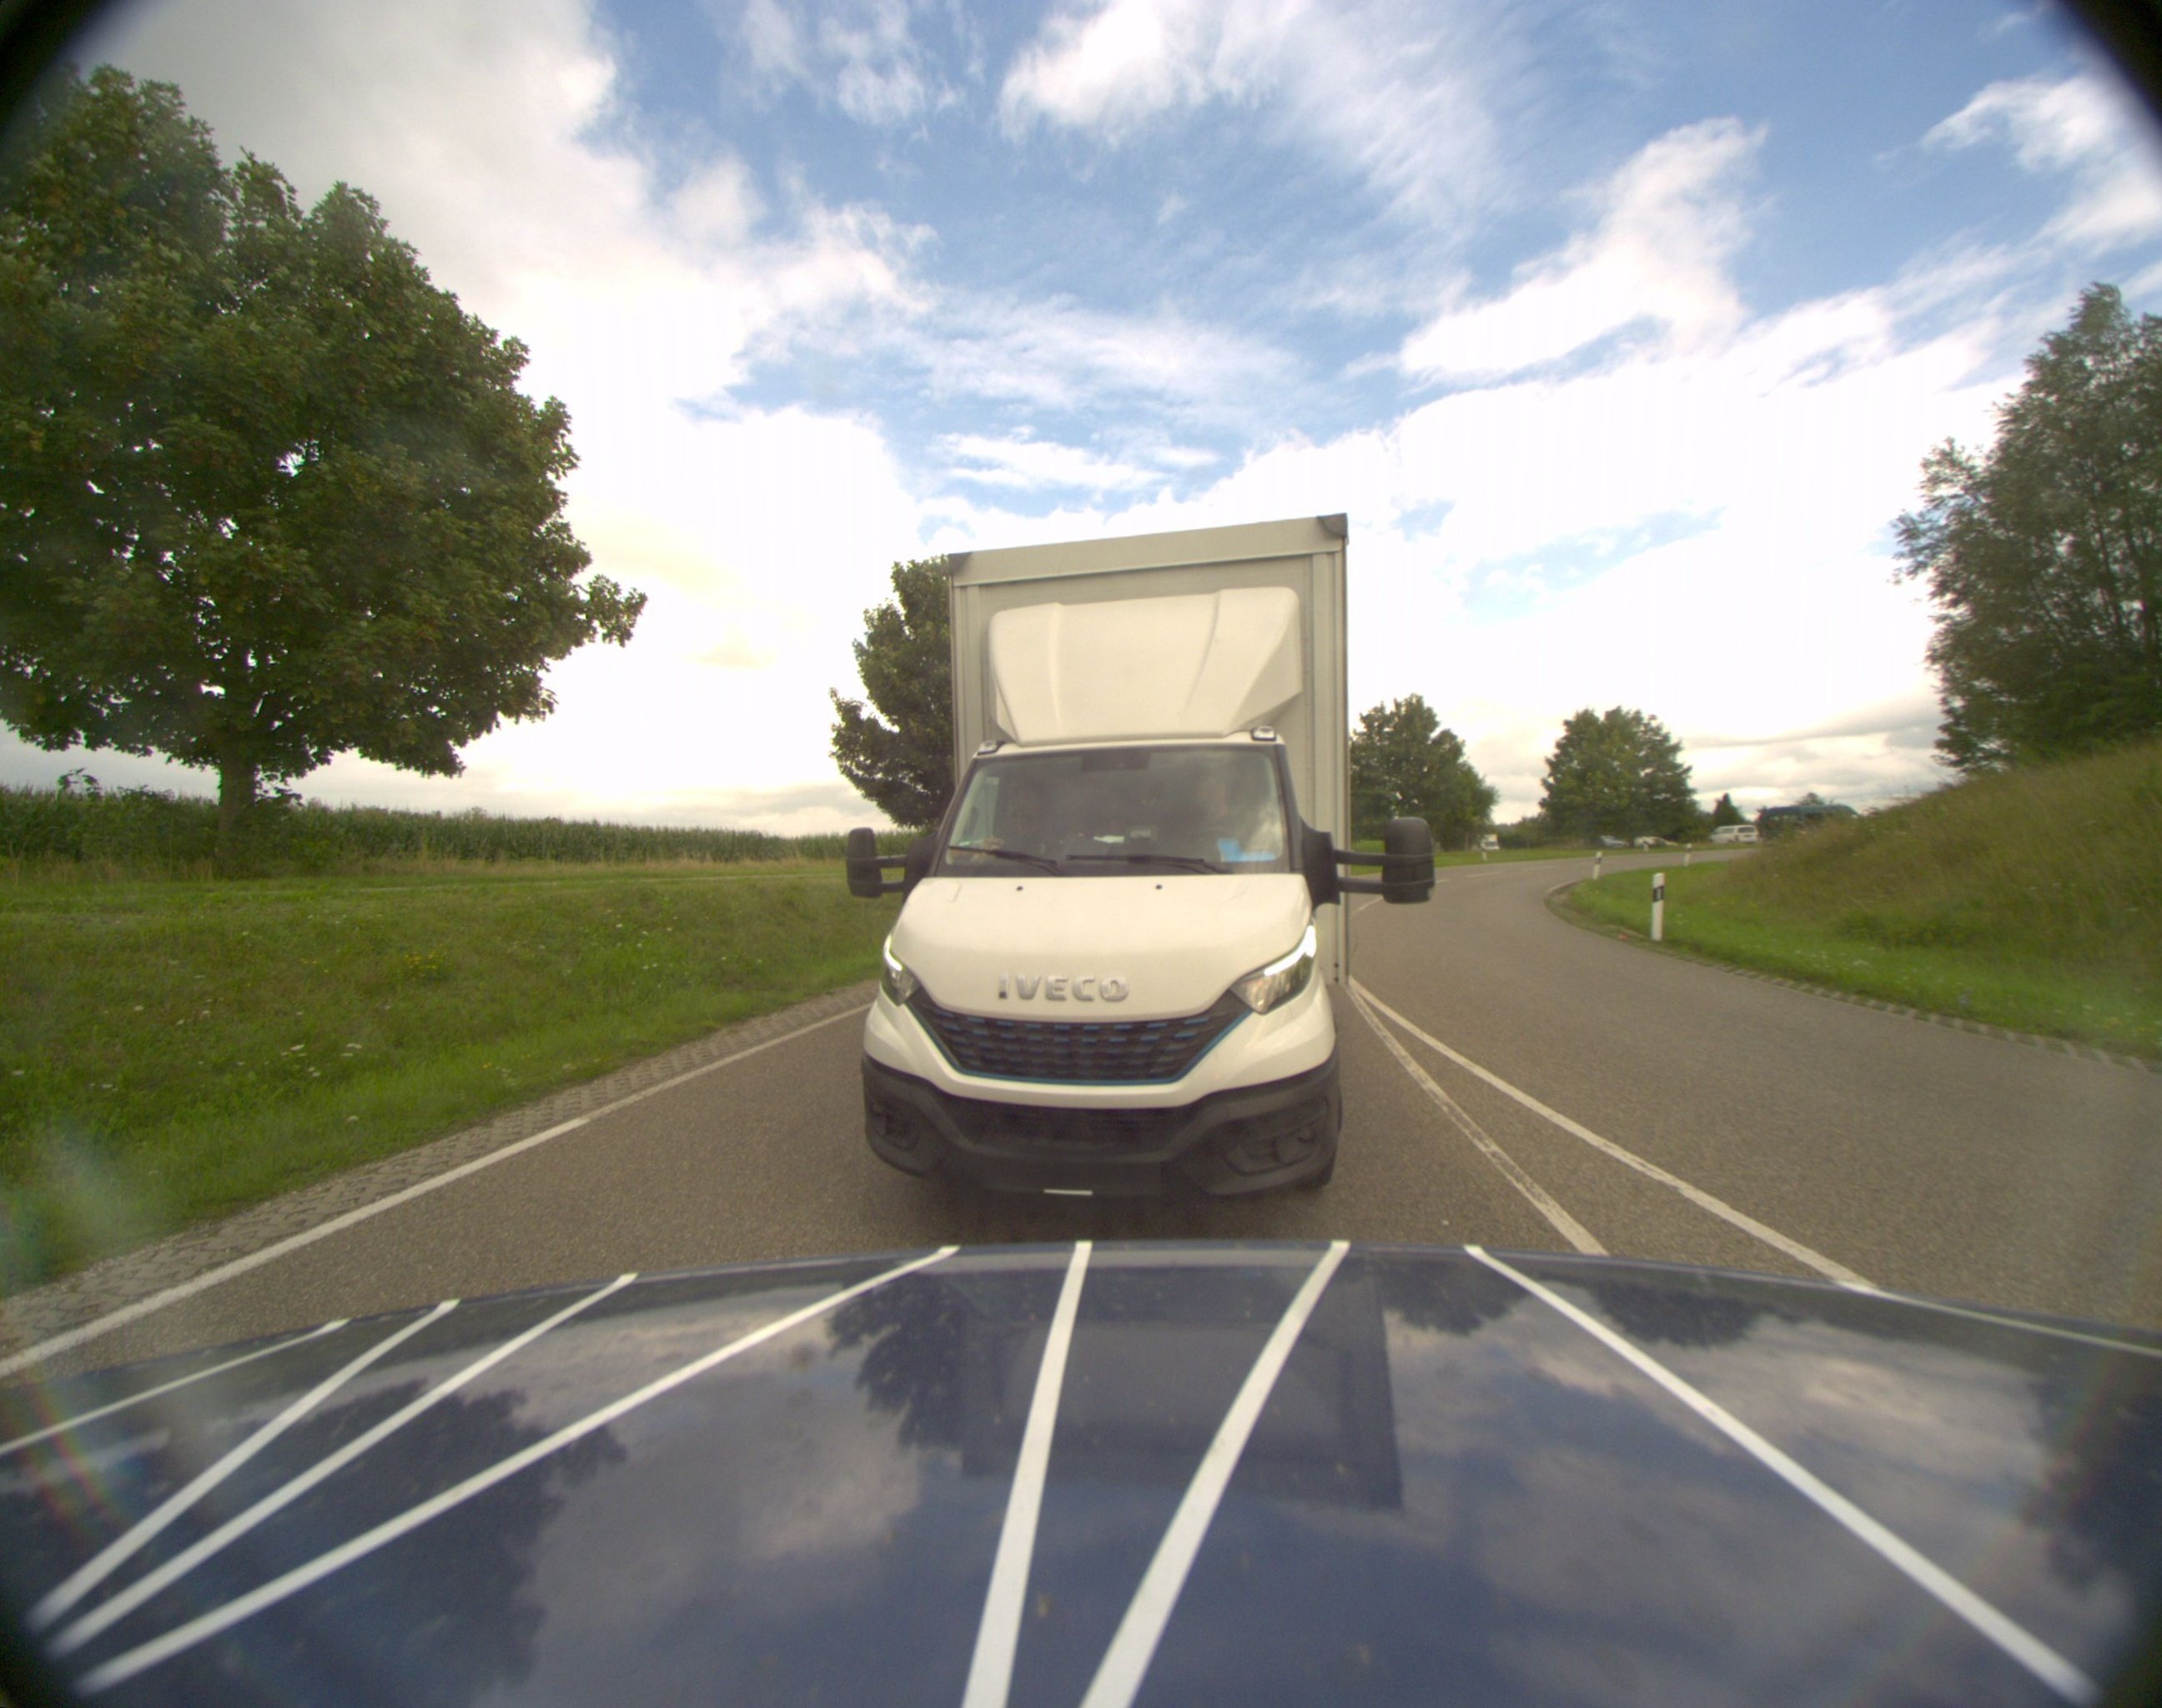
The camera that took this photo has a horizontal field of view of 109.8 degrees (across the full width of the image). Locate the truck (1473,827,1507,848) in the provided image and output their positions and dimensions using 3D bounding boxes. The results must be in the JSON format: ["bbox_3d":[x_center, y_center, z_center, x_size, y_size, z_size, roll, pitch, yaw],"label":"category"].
[{"bbox_3d":[50.461,-2.024,93.935,2.288,2.407,6.389,-2,0,15],"label":"truck"}]

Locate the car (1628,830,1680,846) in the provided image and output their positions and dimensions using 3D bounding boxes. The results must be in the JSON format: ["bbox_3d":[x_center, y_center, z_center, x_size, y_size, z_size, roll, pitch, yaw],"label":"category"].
[{"bbox_3d":[64.638,-1.827,85.753,4.393,1.576,2.003,-2,0,26],"label":"car"}]

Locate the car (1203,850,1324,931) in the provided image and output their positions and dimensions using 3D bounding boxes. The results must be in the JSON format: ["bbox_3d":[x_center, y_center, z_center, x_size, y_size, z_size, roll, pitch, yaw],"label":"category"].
[{"bbox_3d":[3.980,0.686,16.033,1.747,1.457,4.006,-2,0,24],"label":"car"}]

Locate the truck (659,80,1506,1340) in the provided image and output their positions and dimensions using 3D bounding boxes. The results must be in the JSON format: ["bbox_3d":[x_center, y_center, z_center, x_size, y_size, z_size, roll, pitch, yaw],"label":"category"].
[{"bbox_3d":[0.725,-0.401,6.848,2.834,3.741,8.807,-1,0,11],"label":"truck"}]

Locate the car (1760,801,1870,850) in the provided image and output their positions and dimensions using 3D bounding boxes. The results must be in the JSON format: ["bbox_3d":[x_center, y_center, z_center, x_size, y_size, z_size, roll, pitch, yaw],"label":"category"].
[{"bbox_3d":[40.504,-1.546,41.942,5.125,2.615,1.997,-1,1,-15],"label":"car"}]
